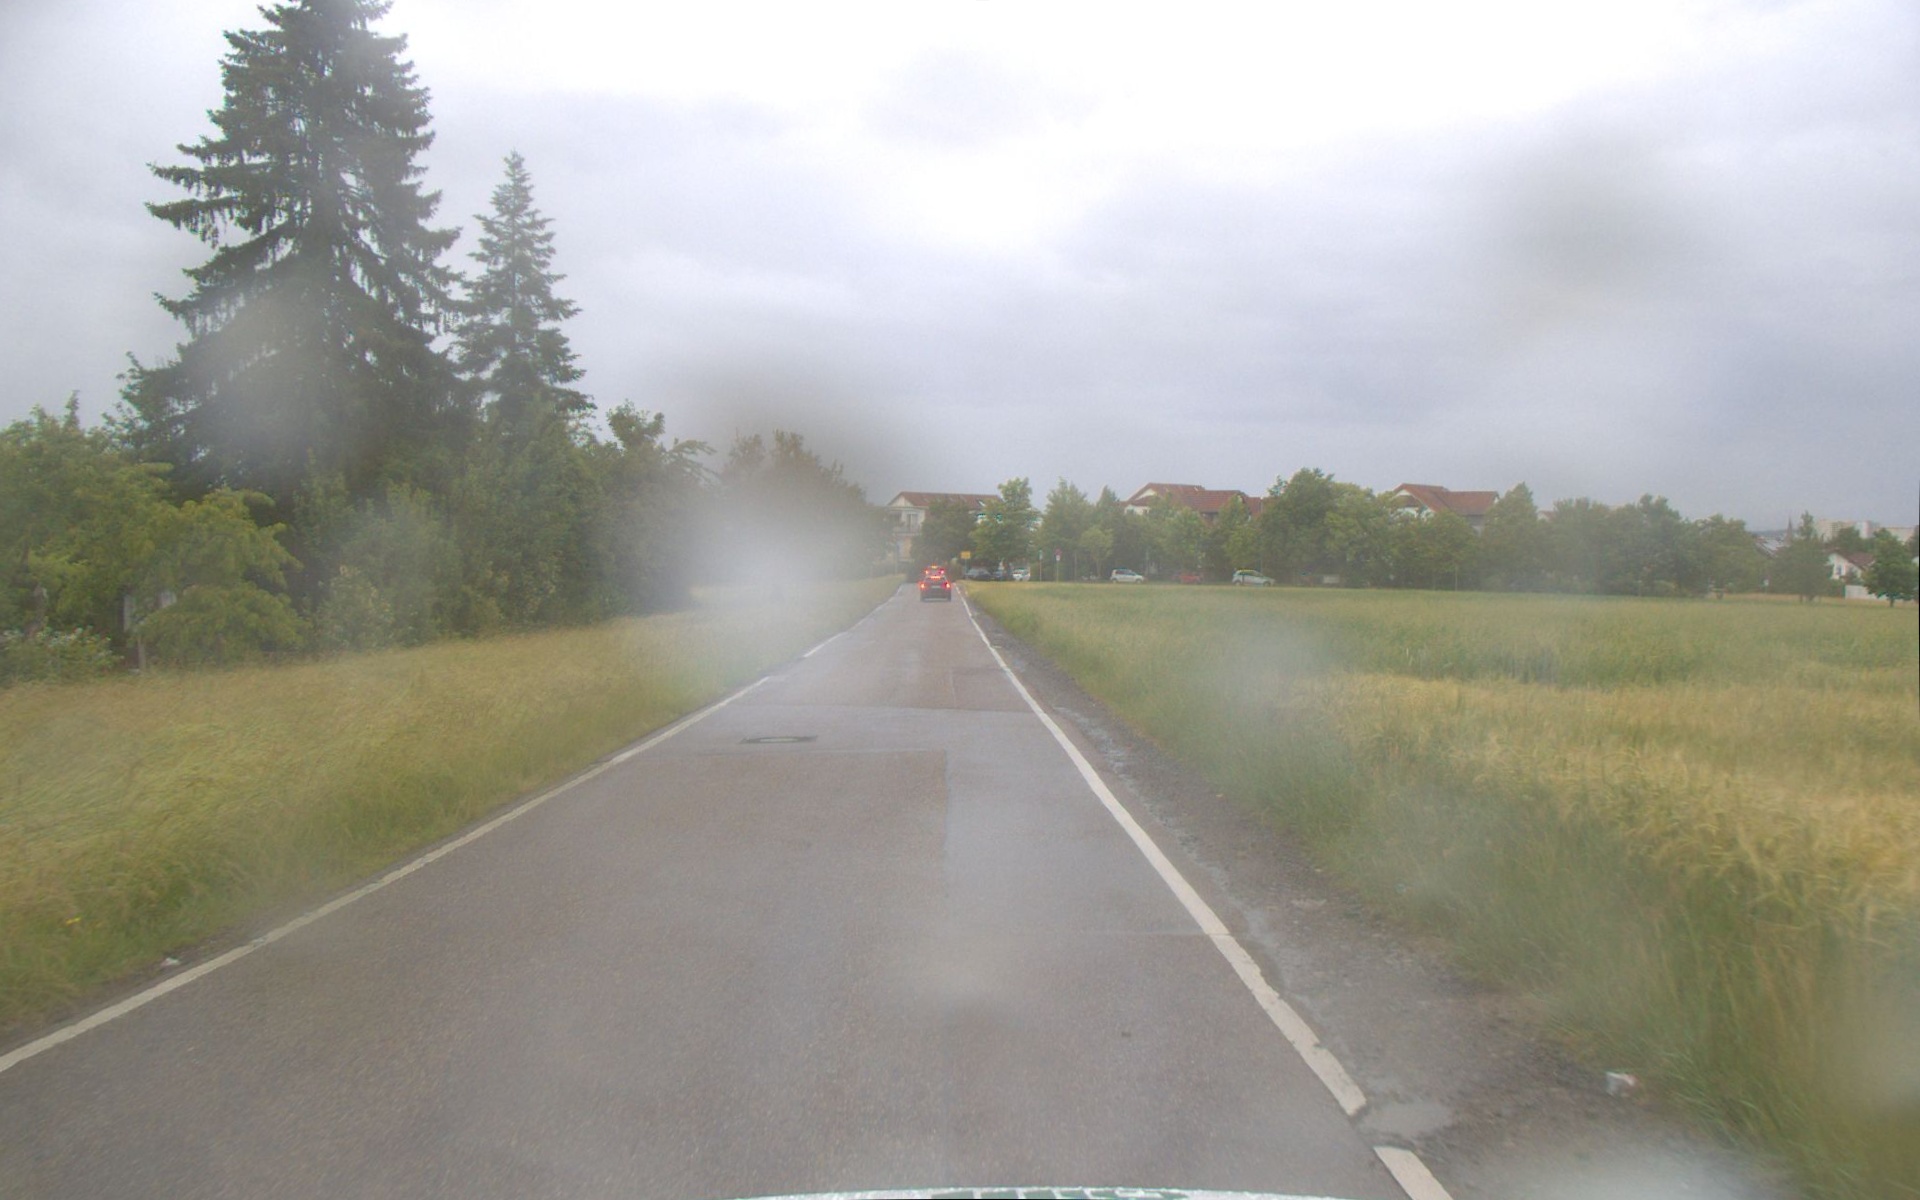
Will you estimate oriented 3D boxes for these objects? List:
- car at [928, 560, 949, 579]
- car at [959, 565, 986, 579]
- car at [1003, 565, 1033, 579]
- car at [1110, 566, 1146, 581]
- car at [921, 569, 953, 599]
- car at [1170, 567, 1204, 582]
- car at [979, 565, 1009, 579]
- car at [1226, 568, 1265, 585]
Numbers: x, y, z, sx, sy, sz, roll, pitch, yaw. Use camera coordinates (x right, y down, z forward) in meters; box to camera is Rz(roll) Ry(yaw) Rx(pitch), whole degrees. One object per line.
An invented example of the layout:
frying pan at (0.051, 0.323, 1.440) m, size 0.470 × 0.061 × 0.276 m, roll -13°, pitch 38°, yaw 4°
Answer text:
car at (-1.921, -2.710, 149.618) m, size 1.777 × 1.622 × 4.000 m, roll 0°, pitch 0°, yaw 0°
car at (1.382, -3.186, 187.963) m, size 1.627 × 1.573 × 3.998 m, roll 0°, pitch 0°, yaw 24°
car at (6.932, -3.298, 197.357) m, size 1.632 × 1.573 × 3.986 m, roll 0°, pitch -1°, yaw 35°
car at (16.211, -2.526, 159.262) m, size 3.317 × 1.394 × 1.549 m, roll 0°, pitch -1°, yaw 13°
car at (-1.288, -0.901, 94.201) m, size 1.777 × 1.622 × 4.000 m, roll 0°, pitch 0°, yaw 0°
car at (21.697, -2.435, 158.118) m, size 3.124 × 1.394 × 1.573 m, roll 0°, pitch 0°, yaw 13°
car at (3.995, -3.240, 193.054) m, size 1.632 × 1.573 × 3.986 m, roll 0°, pitch -1°, yaw 35°
car at (27.040, -2.231, 156.643) m, size 3.630 × 1.591 × 1.612 m, roll 0°, pitch -1°, yaw 13°
